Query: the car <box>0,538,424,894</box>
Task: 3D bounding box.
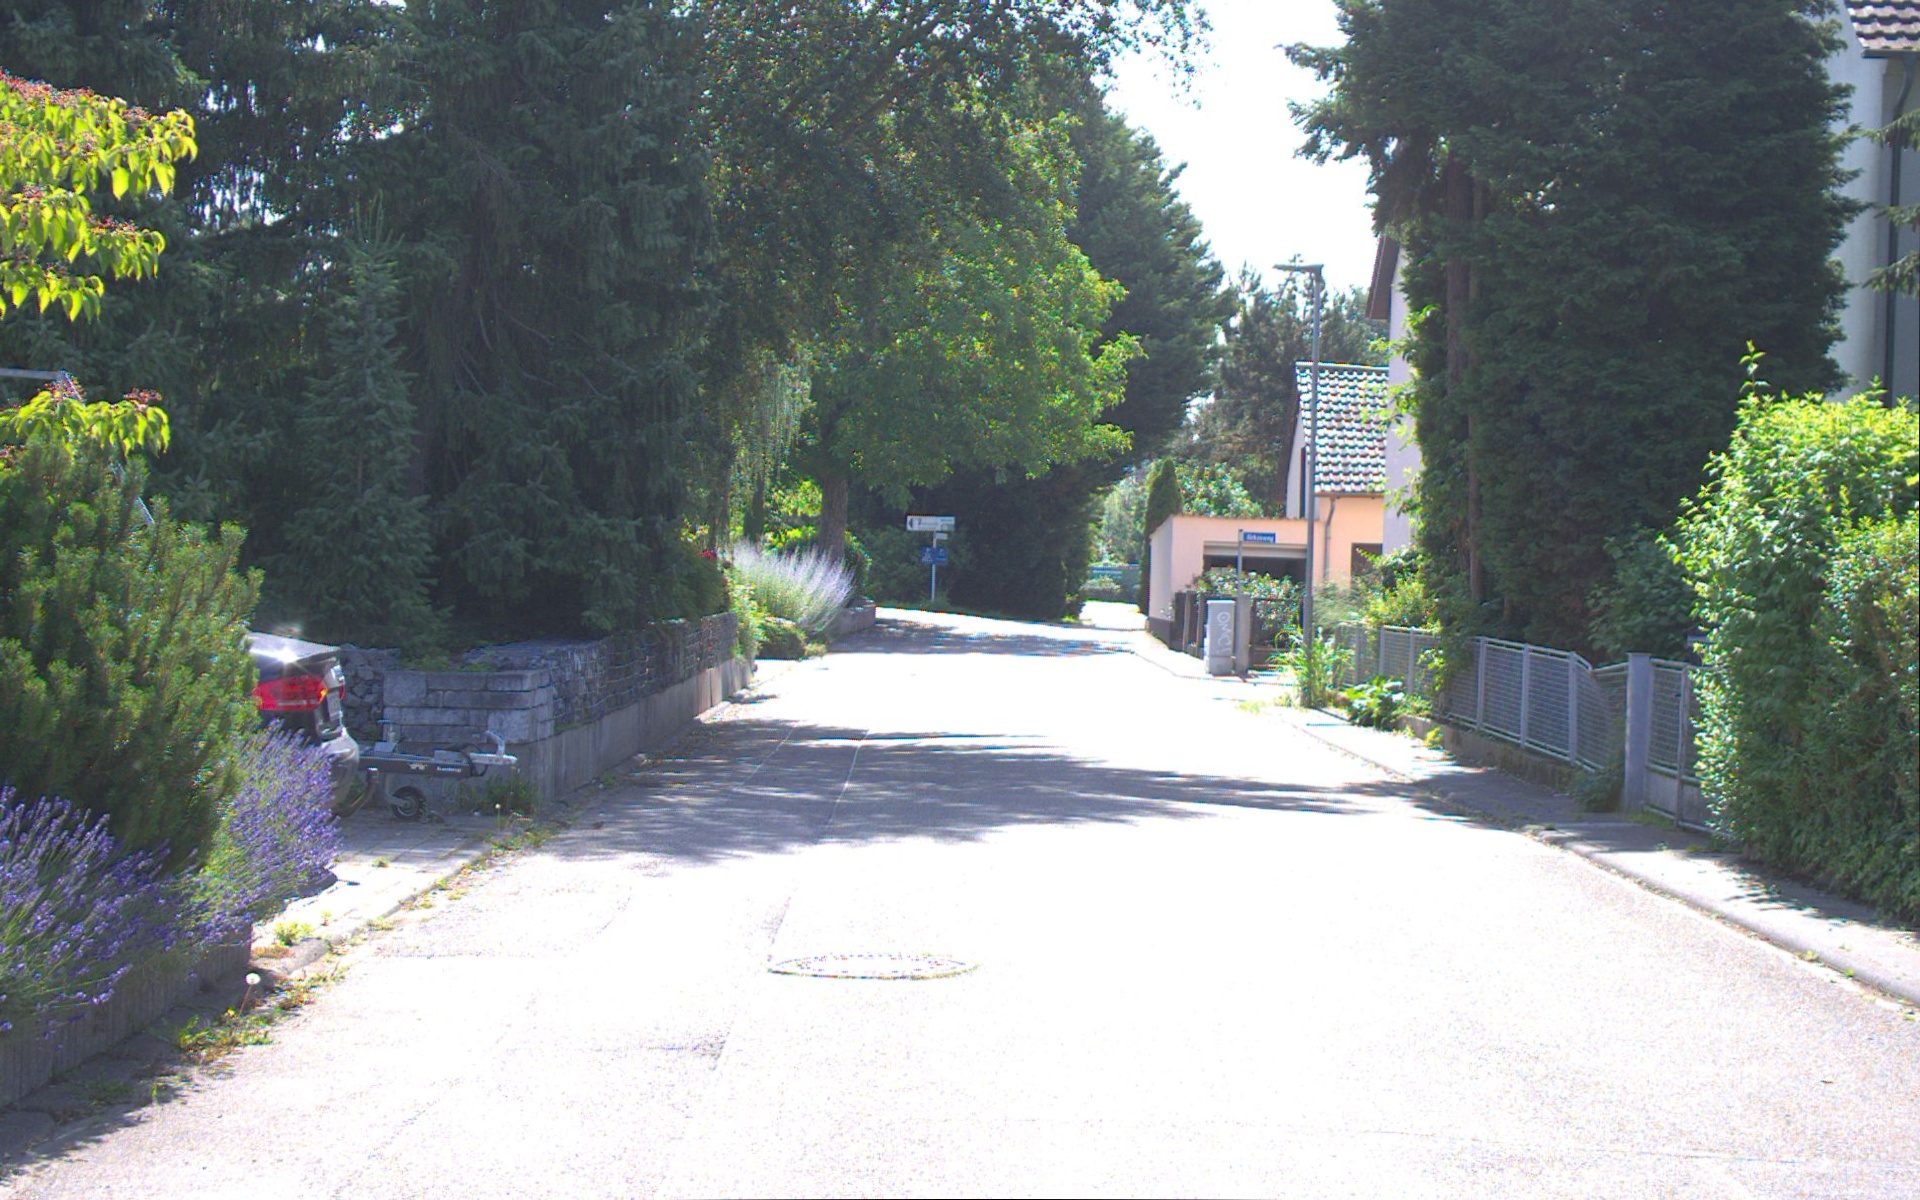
[{"bbox_3d":[-4.431,0.447,15.531,3.735,1.441,1.756,2,1,-2],"label":"car"}]
